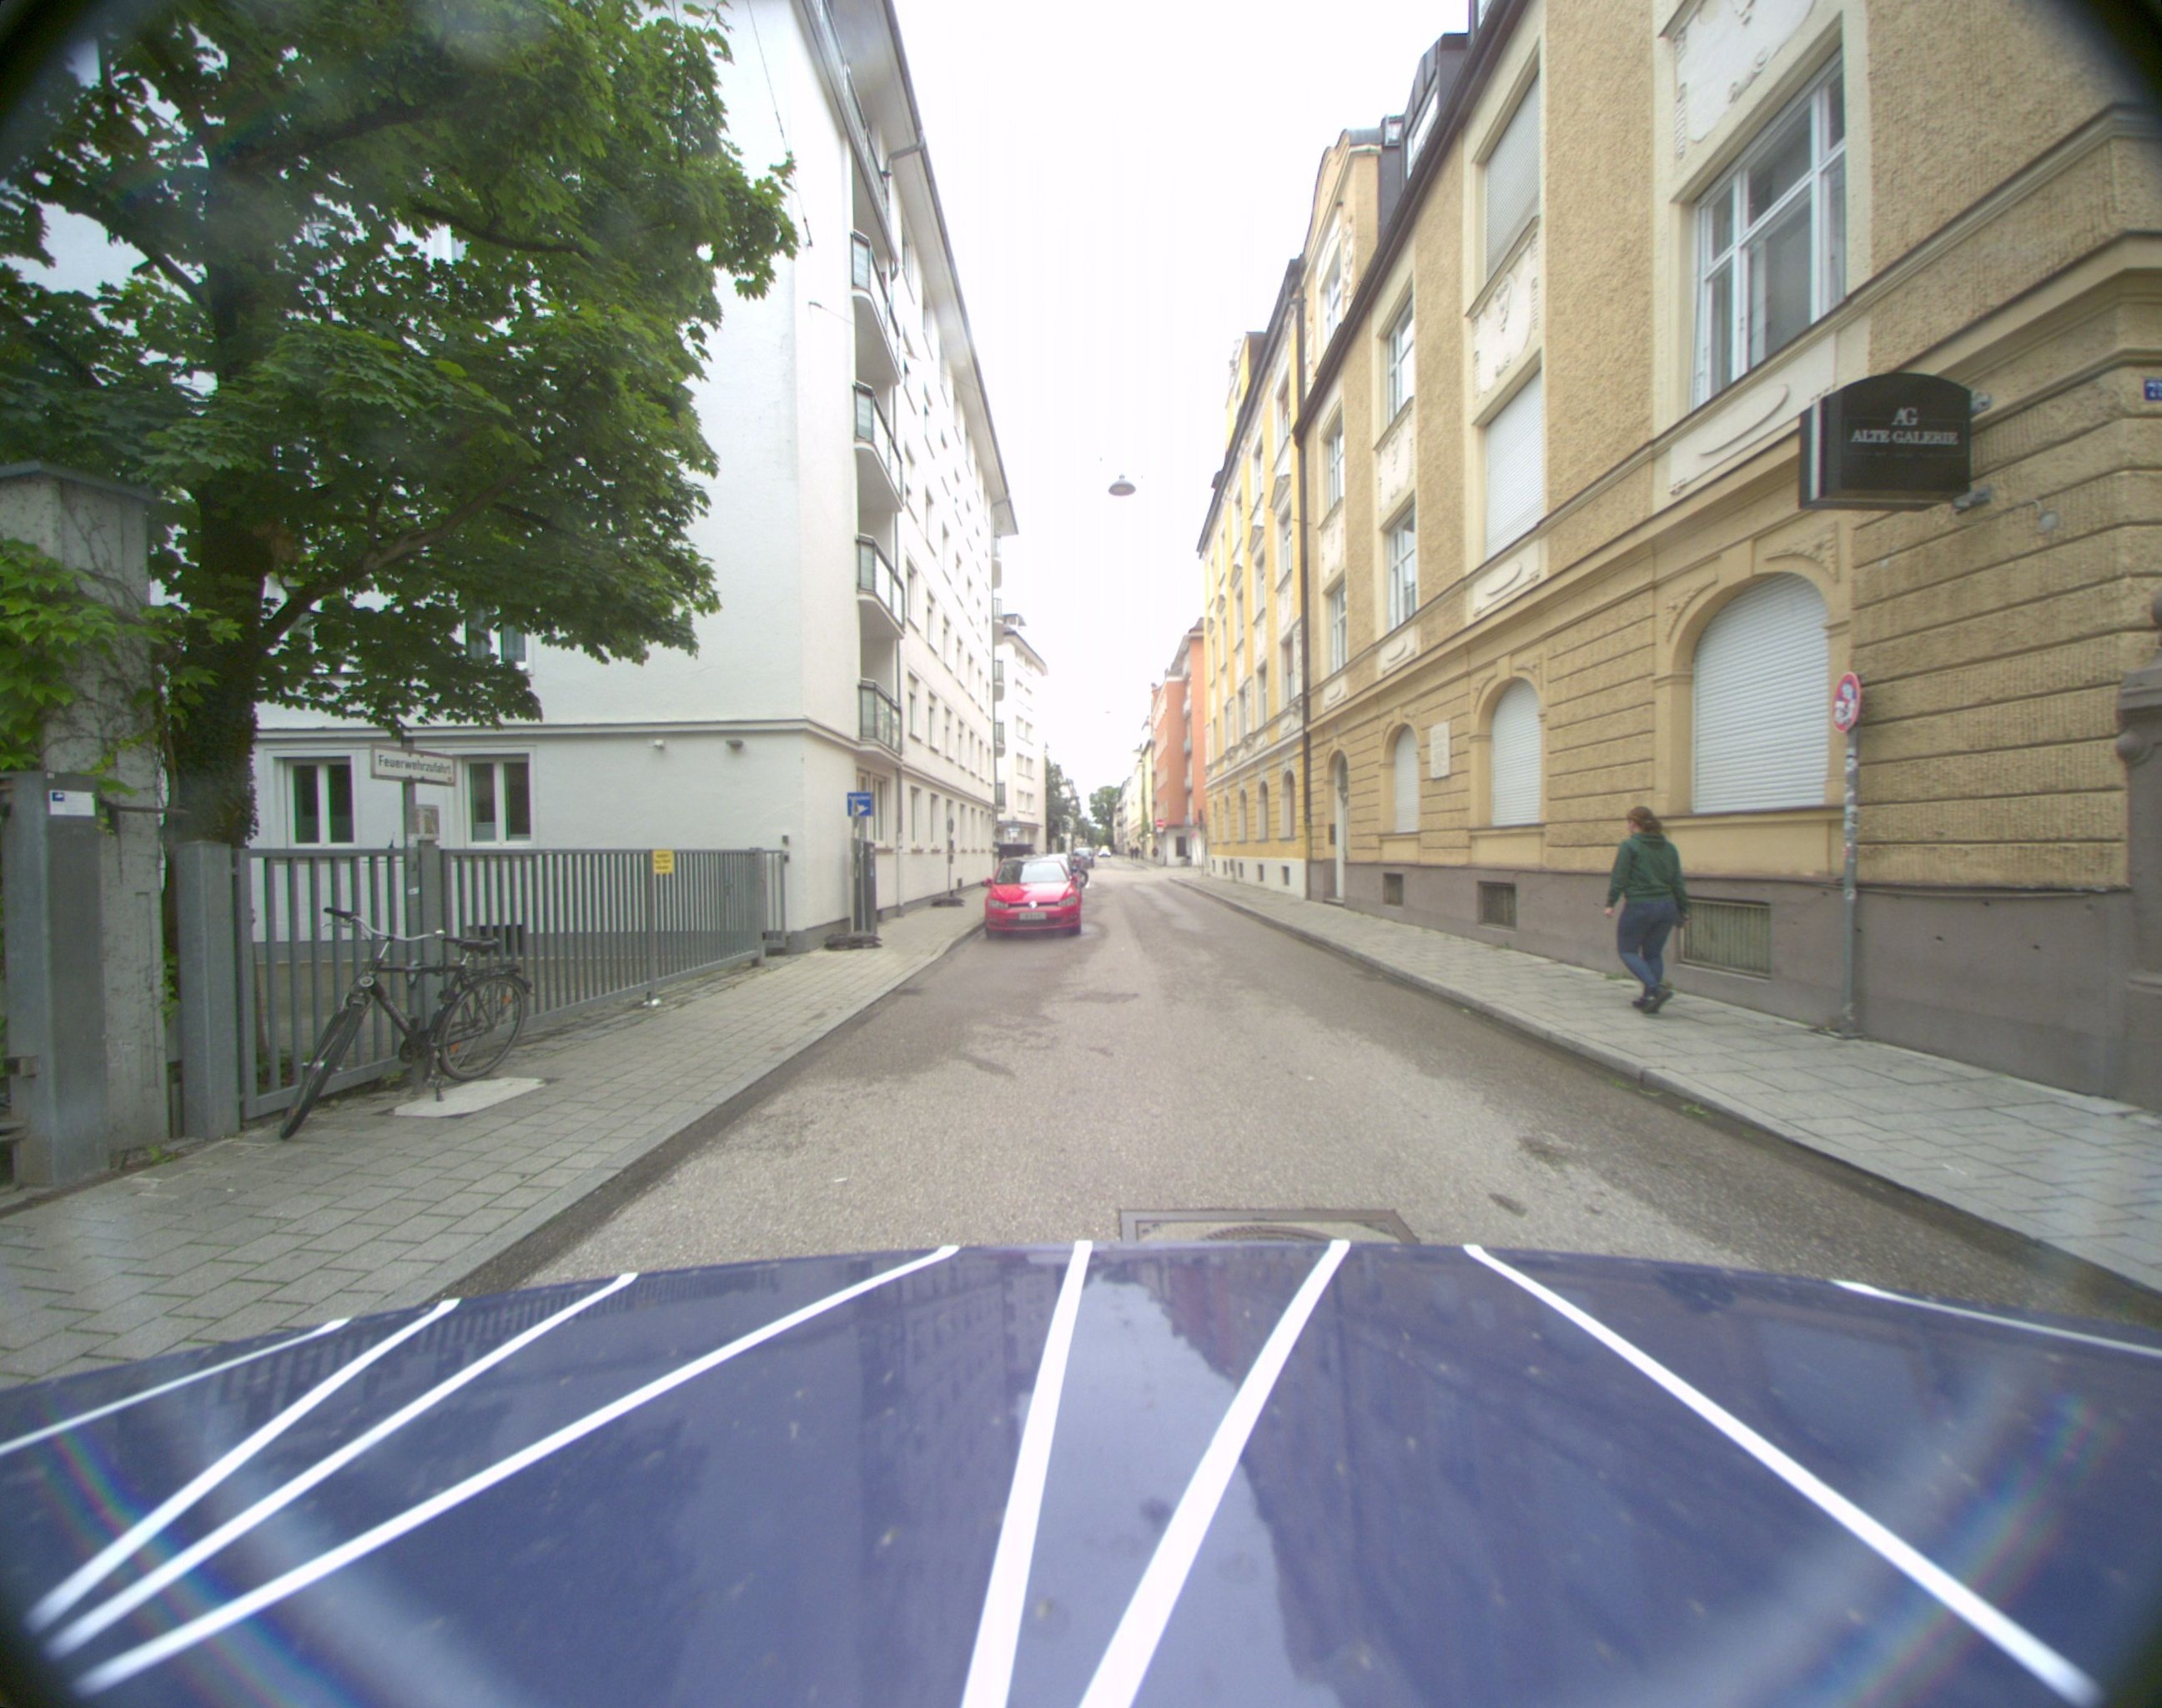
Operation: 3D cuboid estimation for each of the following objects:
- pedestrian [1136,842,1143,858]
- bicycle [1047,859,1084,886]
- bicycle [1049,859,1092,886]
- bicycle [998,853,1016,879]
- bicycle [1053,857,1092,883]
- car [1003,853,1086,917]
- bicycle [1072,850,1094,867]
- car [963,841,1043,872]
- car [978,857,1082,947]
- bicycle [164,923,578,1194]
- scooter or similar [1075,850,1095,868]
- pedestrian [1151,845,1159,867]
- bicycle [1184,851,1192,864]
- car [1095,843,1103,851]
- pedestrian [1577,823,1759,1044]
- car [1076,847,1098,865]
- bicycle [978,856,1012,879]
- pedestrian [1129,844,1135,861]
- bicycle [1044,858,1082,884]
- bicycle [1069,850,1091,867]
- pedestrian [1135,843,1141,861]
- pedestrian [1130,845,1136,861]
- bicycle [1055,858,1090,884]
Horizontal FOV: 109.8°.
[{"bbox_3d":[6.728,-0.463,87.506,0.699,1.783,0.763,0,1,2],"label":"pedestrian"},{"bbox_3d":[-0.647,0.738,30.927,1.438,1.038,0.330,2,2,9],"label":"bicycle"},{"bbox_3d":[-0.410,0.747,30.455,1.707,1.038,0.360,1,2,2],"label":"bicycle"},{"bbox_3d":[-3.574,0.559,36.610,0.399,1.198,1.502,1,2,-23],"label":"bicycle"},{"bbox_3d":[-0.368,0.713,33.842,1.699,1.154,0.378,-1,1,0],"label":"bicycle"},{"bbox_3d":[-0.871,0.757,20.701,1.799,1.430,4.383,-2,1,3],"label":"car"},{"bbox_3d":[0.161,0.331,55.365,1.607,1.207,0.529,0,1,4],"label":"bicycle"},{"bbox_3d":[-4.924,0.140,48.072,4.676,1.880,1.935,0,0,9],"label":"car"},{"bbox_3d":[-1.049,0.844,15.423,1.766,1.438,4.296,-2,1,-4],"label":"car"},{"bbox_3d":[-4.011,1.064,4.559,0.709,1.191,1.834,-1,-2,2],"label":"bicycle"},{"bbox_3d":[0.285,0.355,53.936,1.340,1.207,0.344,0,1,4],"label":"scooter or similar"},{"bbox_3d":[5.872,0.168,60.245,0.613,1.684,0.566,0,1,1],"label":"pedestrian"},{"bbox_3d":[7.863,0.239,55.943,0.391,0.932,1.540,0,1,2],"label":"bicycle"},{"bbox_3d":[4.899,-1.805,203.838,1.998,2.002,4.646,-1,1,1],"label":"car"},{"bbox_3d":[4.800,0.608,6.281,0.714,1.656,0.929,-4,1,1],"label":"pedestrian"},{"bbox_3d":[0.499,0.153,61.754,1.653,1.391,4.000,0,1,2],"label":"car"},{"bbox_3d":[-3.935,0.619,34.769,1.502,1.038,0.398,1,2,-17],"label":"bicycle"},{"bbox_3d":[5.914,-0.188,87.529,0.635,2.002,0.788,1,1,2],"label":"pedestrian"},{"bbox_3d":[-0.770,0.721,31.842,1.520,1.038,0.360,2,2,9],"label":"bicycle"},{"bbox_3d":[-0.059,0.322,55.941,1.607,1.207,0.529,0,1,4],"label":"bicycle"},{"bbox_3d":[6.568,-0.226,87.511,0.635,2.002,0.788,1,1,2],"label":"pedestrian"},{"bbox_3d":[5.971,-0.116,87.291,0.726,1.783,0.830,0,1,1],"label":"pedestrian"},{"bbox_3d":[-0.353,0.722,32.171,1.441,1.038,0.360,2,2,9],"label":"bicycle"}]
